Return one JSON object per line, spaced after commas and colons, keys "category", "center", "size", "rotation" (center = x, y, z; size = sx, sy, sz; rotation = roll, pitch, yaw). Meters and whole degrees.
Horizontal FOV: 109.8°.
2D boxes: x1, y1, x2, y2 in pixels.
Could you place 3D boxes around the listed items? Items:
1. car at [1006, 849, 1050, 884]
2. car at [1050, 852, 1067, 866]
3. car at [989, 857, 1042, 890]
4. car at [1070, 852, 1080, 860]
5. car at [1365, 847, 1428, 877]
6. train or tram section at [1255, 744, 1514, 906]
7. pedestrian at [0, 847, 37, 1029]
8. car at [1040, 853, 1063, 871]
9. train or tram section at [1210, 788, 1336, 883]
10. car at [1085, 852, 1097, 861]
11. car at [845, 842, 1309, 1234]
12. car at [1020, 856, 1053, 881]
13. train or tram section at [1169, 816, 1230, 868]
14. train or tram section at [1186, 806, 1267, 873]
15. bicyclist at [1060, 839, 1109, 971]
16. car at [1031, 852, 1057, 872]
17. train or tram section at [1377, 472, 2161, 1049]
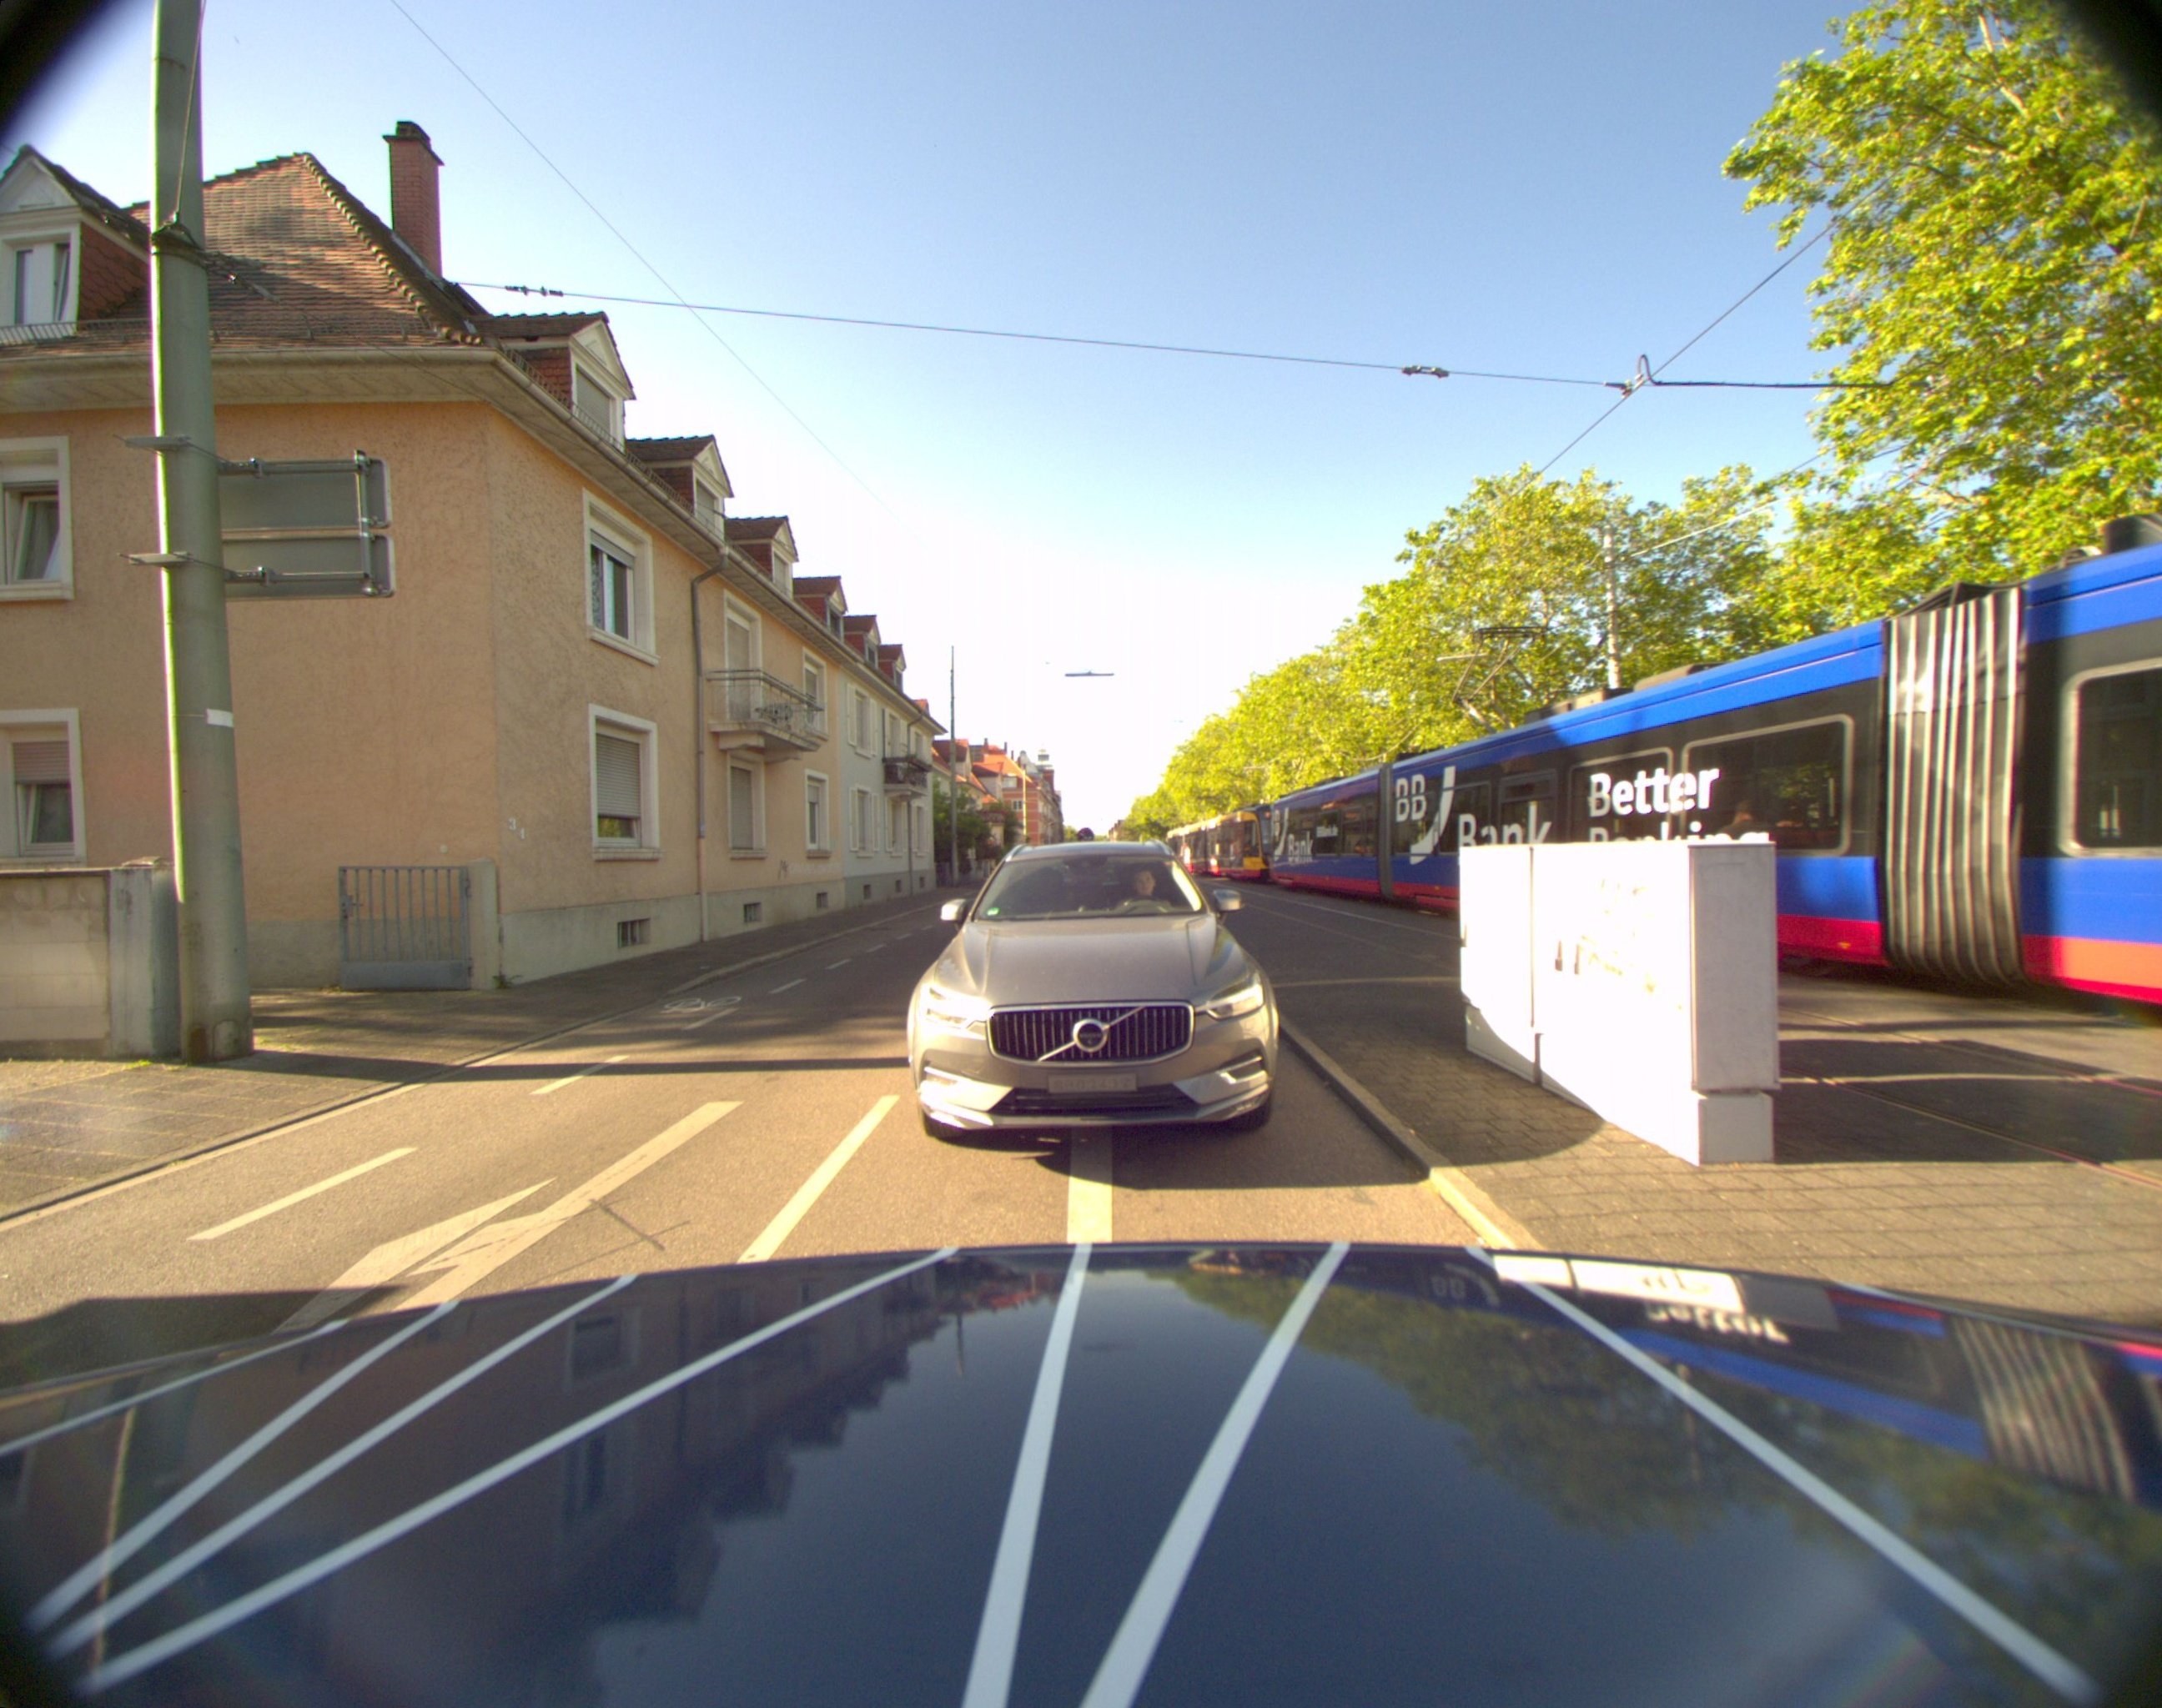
{"category": "car", "center": [-2.909, 0.651, 42.969], "size": [1.932, 1.834, 5.313], "rotation": [-1, 0, 2]}
{"category": "car", "center": [-2.505, 0.570, 85.534], "size": [1.882, 1.477, 3.999], "rotation": [-1, 0, -1]}
{"category": "car", "center": [-3.144, 0.918, 37.163], "size": [1.881, 1.477, 4.001], "rotation": [-1, 0, 5]}
{"category": "car", "center": [-1.117, 0.305, 147.943], "size": [1.882, 1.477, 3.999], "rotation": [-1, 0, -1]}
{"category": "car", "center": [16.945, 0.389, 40.983], "size": [1.882, 1.477, 4.000], "rotation": [-1, 0, 2]}
{"category": "train or tram section", "center": [8.258, -0.682, 23.228], "size": [3.063, 3.592, 12.113], "rotation": [-1, 0, 0]}
{"category": "pedestrian", "center": [-10.653, 0.811, 7.246], "size": [0.486, 1.750, 0.602], "rotation": [-1, 1, 2]}
{"category": "car", "center": [-2.618, 0.697, 67.244], "size": [1.882, 1.477, 3.999], "rotation": [-1, 0, -1]}
{"category": "train or tram section", "center": [8.412, -0.735, 35.306], "size": [3.062, 3.592, 12.115], "rotation": [-1, 0, 2]}
{"category": "car", "center": [1.745, 0.412, 130.896], "size": [1.882, 1.477, 3.999], "rotation": [-1, 0, -1]}
{"category": "car", "center": [0.016, 0.766, 5.441], "size": [1.917, 1.621, 4.502], "rotation": [-1, 0, 1]}
{"category": "car", "center": [-2.807, 0.903, 48.374], "size": [1.882, 1.477, 3.999], "rotation": [-1, 0, -1]}
{"category": "train or tram section", "center": [9.072, -0.850, 59.737], "size": [3.062, 3.592, 12.889], "rotation": [-1, 0, 1]}
{"category": "train or tram section", "center": [8.764, -0.795, 47.298], "size": [3.062, 3.592, 11.950], "rotation": [-1, 0, 2]}
{"category": "bicyclist", "center": [0.048, 0.658, 10.214], "size": [0.600, 1.709, 0.662], "rotation": [-1, 1, 1]}
{"category": "car", "center": [-2.941, 0.588, 60.592], "size": [1.882, 1.477, 3.999], "rotation": [-1, 0, -1]}
{"category": "train or tram section", "center": [8.240, -0.631, 10.992], "size": [3.063, 3.592, 12.501], "rotation": [-1, 0, 0]}
